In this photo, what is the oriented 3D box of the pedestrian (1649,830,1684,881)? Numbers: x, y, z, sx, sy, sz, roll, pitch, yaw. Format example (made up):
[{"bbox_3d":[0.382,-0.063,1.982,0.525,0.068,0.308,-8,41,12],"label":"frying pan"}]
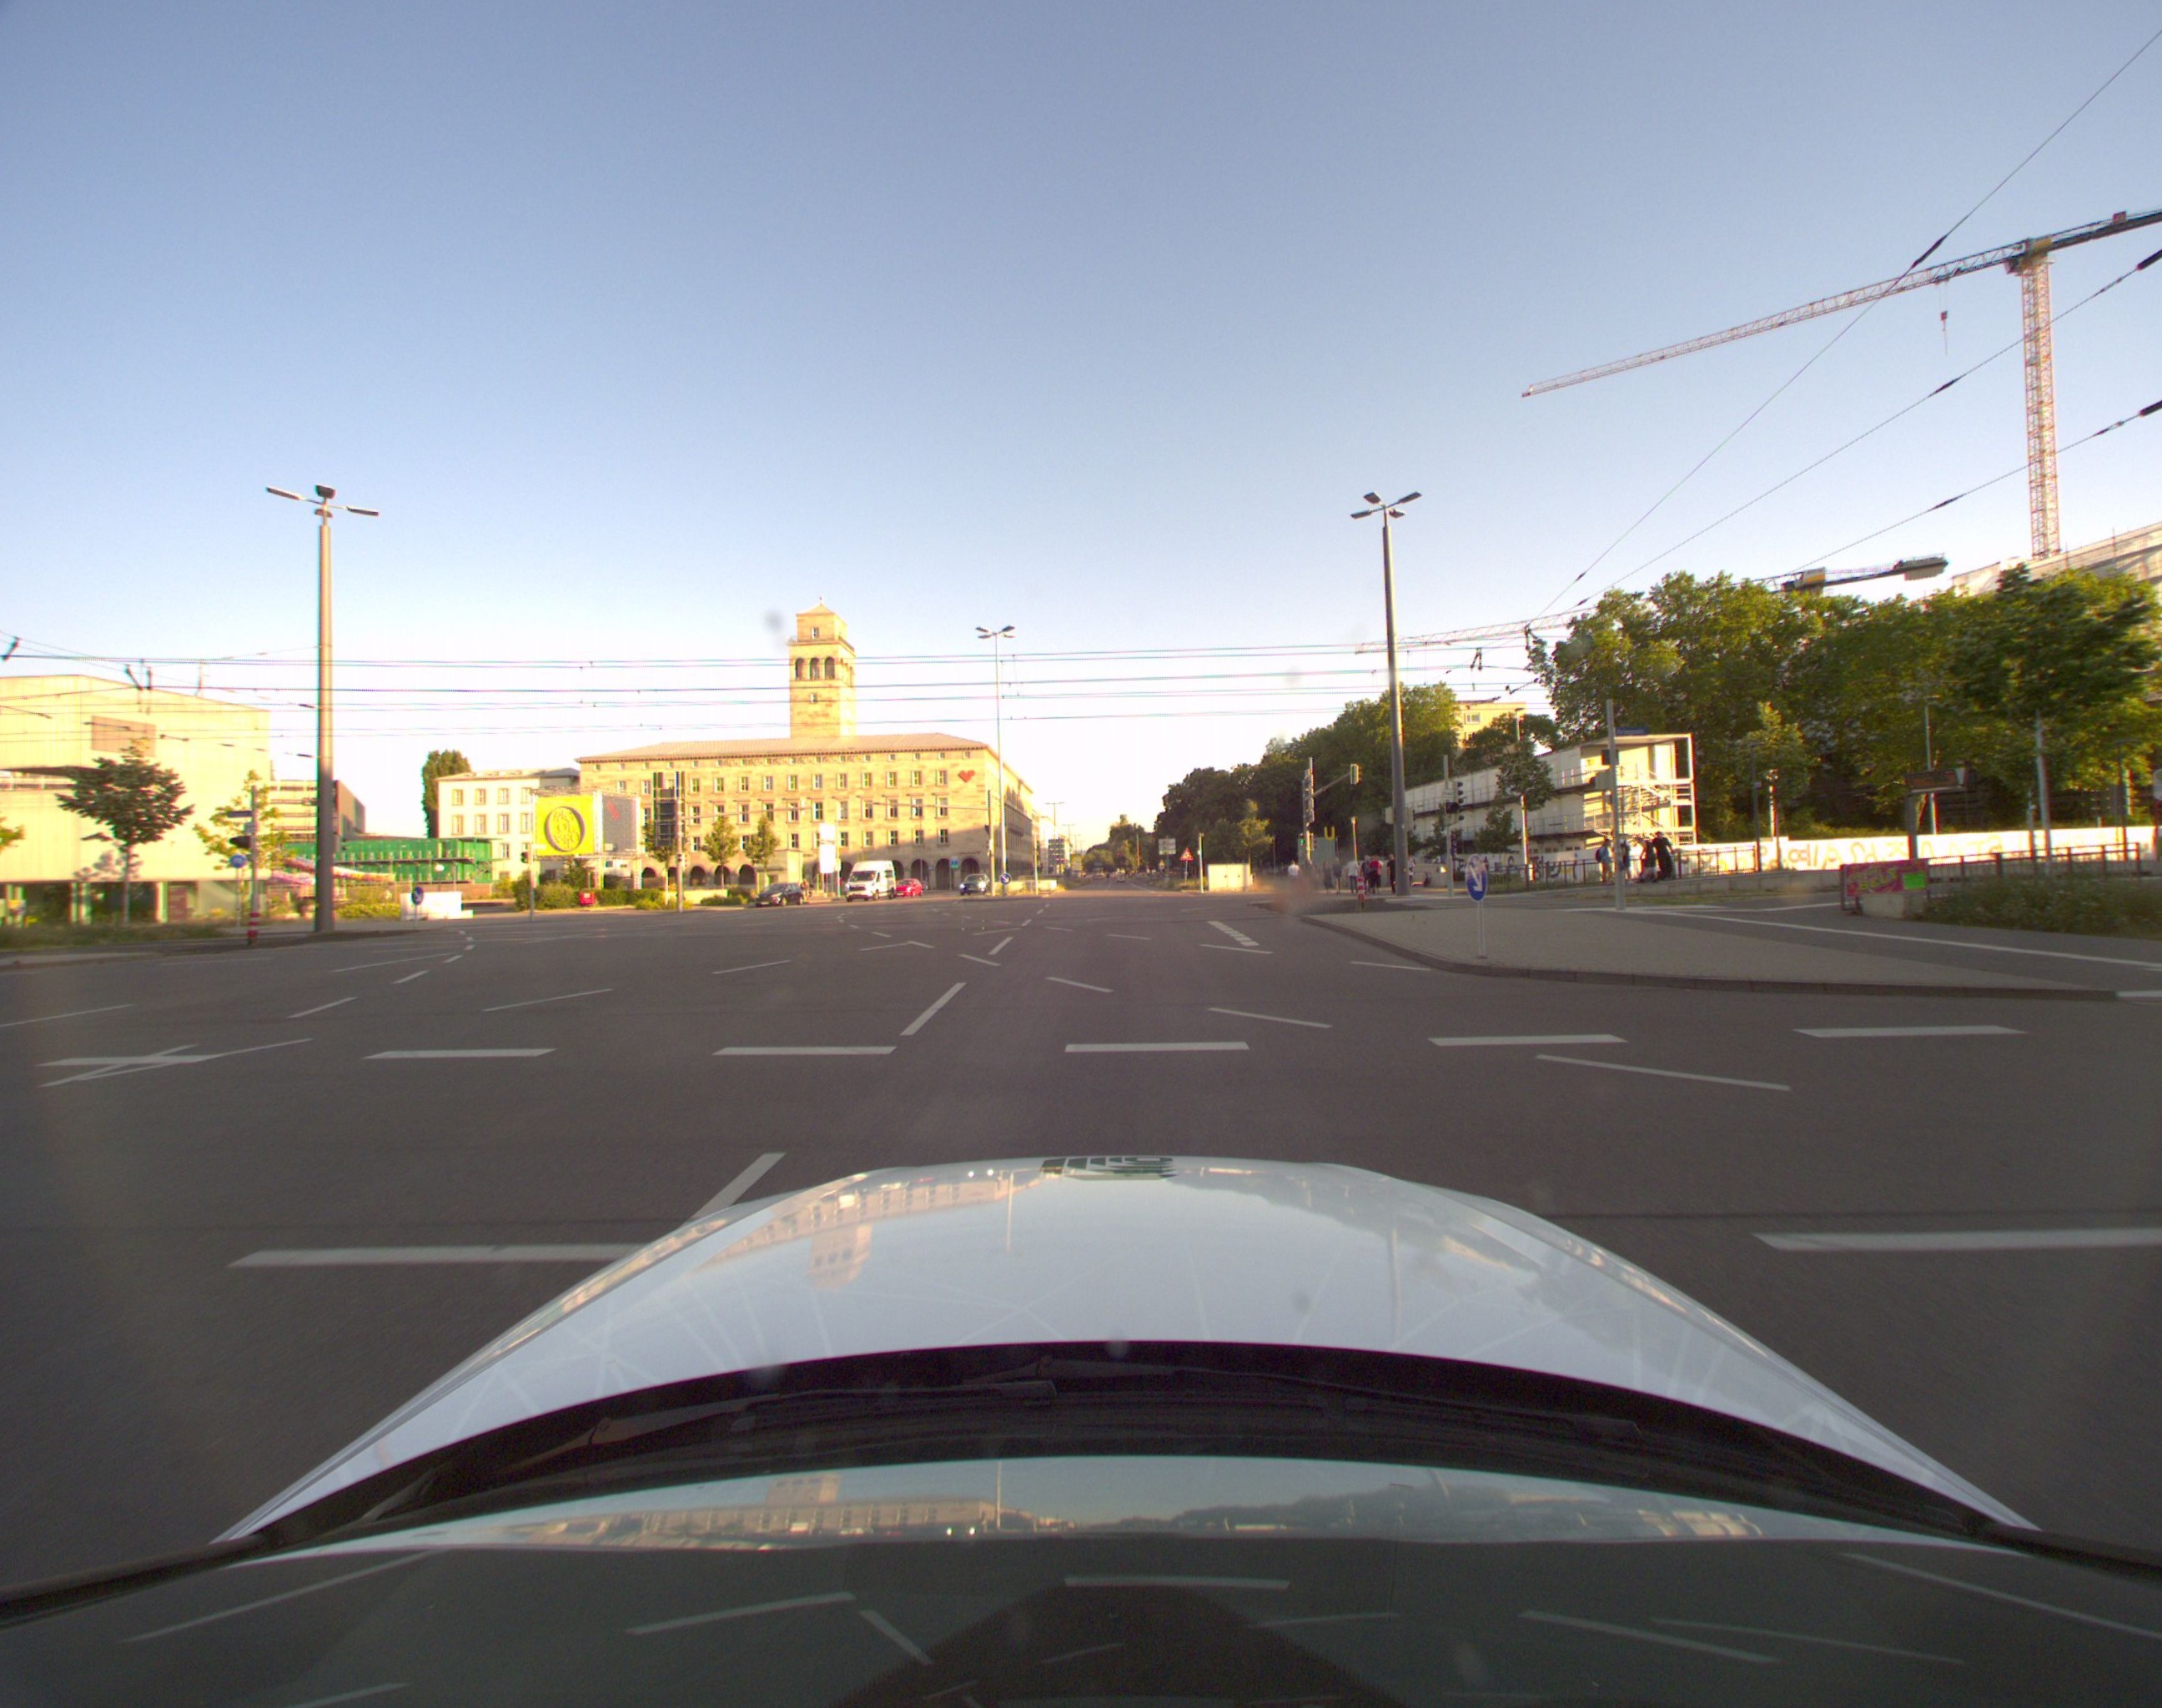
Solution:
[{"bbox_3d":[20.635,0.058,28.715,0.709,1.725,0.668,-2,-1,-1],"label":"pedestrian"}]

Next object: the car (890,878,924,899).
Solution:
[{"bbox_3d":[-13.857,2.760,65.133,1.732,1.487,4.002,-2,-1,2],"label":"car"}]

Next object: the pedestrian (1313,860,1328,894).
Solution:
[{"bbox_3d":[11.894,1.144,40.484,0.555,1.655,0.907,-2,-1,22],"label":"pedestrian"}]

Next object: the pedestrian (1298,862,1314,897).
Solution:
[{"bbox_3d":[11.247,1.256,40.700,0.705,1.725,0.671,-2,-1,18],"label":"pedestrian"}]

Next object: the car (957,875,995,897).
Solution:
[{"bbox_3d":[-7.188,2.183,56.269,1.815,1.342,4.004,-2,-1,4],"label":"car"}]

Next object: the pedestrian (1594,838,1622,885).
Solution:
[{"bbox_3d":[18.225,0.244,28.173,0.569,1.592,0.536,-2,-1,1],"label":"pedestrian"}]

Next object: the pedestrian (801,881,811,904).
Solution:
[{"bbox_3d":[-21.722,3.034,64.297,0.620,1.744,0.459,0,-2,-4],"label":"pedestrian"}]

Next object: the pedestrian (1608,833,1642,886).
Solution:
[{"bbox_3d":[18.101,0.185,27.131,0.705,1.725,0.671,-2,-1,14],"label":"pedestrian"}]

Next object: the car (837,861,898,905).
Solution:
[{"bbox_3d":[-14.392,1.904,55.364,2.270,2.776,6.087,-2,-1,2],"label":"car"}]

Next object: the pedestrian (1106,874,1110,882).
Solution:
[{"bbox_3d":[5.860,5.178,178.010,0.903,1.671,1.307,-2,-1,0],"label":"pedestrian"}]

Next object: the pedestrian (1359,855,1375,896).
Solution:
[{"bbox_3d":[12.788,0.946,36.436,0.568,1.791,0.641,-2,-1,15],"label":"pedestrian"}]

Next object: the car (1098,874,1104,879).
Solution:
[{"bbox_3d":[5.387,6.111,218.734,1.364,1.234,3.048,-2,-1,3],"label":"car"}]

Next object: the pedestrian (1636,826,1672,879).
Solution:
[{"bbox_3d":[18.977,-0.048,26.985,0.706,1.725,0.671,-2,-1,13],"label":"pedestrian"}]

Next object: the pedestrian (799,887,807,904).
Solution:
[{"bbox_3d":[-21.719,3.268,63.603,0.420,1.301,0.459,0,-2,-4],"label":"pedestrian"}]

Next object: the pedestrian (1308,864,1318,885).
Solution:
[{"bbox_3d":[20.092,1.762,70.559,0.663,1.842,0.714,-2,-1,7],"label":"pedestrian"}]

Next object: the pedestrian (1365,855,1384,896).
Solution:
[{"bbox_3d":[12.720,0.910,35.346,0.697,1.734,0.851,-2,-1,17],"label":"pedestrian"}]

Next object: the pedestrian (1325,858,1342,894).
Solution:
[{"bbox_3d":[12.477,1.086,40.227,0.673,1.757,0.907,-2,-1,22],"label":"pedestrian"}]

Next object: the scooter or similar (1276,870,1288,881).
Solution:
[{"bbox_3d":[22.191,2.394,90.010,0.567,1.203,2.984,-2,-1,1],"label":"scooter or similar"}]

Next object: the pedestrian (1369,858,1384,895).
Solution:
[{"bbox_3d":[13.752,1.038,37.882,0.568,1.679,0.641,-2,-1,15],"label":"pedestrian"}]

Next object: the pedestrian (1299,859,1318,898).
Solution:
[{"bbox_3d":[10.217,1.108,36.650,0.706,1.725,0.918,-2,-1,12],"label":"pedestrian"}]

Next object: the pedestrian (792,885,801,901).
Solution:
[{"bbox_3d":[-22.462,3.079,64.370,0.505,1.301,0.700,0,-2,-4],"label":"pedestrian"}]

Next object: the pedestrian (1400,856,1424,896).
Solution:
[{"bbox_3d":[15.237,0.989,37.490,0.800,1.791,0.802,-2,-1,9],"label":"pedestrian"}]

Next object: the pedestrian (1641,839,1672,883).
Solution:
[{"bbox_3d":[19.512,0.228,27.635,0.670,1.441,0.718,-2,-1,23],"label":"pedestrian"}]

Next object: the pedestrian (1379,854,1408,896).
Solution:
[{"bbox_3d":[13.815,0.916,35.989,0.807,1.791,0.795,-1,-1,-18],"label":"pedestrian"}]

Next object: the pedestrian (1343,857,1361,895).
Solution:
[{"bbox_3d":[12.484,1.008,37.515,0.705,1.725,0.919,-2,-1,18],"label":"pedestrian"}]

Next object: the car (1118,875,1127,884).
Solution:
[{"bbox_3d":[7.565,4.631,148.075,1.478,1.696,2.974,-2,-1,1],"label":"car"}]

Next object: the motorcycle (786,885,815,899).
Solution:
[{"bbox_3d":[-26.012,3.485,75.517,2.306,1.196,0.824,-2,-1,-6],"label":"motorcycle"}]

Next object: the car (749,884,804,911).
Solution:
[{"bbox_3d":[-19.376,2.747,51.987,1.816,1.466,4.158,-2,-1,1],"label":"car"}]

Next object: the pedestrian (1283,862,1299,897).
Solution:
[{"bbox_3d":[10.501,1.261,40.732,0.705,1.725,0.671,-2,-1,16],"label":"pedestrian"}]
